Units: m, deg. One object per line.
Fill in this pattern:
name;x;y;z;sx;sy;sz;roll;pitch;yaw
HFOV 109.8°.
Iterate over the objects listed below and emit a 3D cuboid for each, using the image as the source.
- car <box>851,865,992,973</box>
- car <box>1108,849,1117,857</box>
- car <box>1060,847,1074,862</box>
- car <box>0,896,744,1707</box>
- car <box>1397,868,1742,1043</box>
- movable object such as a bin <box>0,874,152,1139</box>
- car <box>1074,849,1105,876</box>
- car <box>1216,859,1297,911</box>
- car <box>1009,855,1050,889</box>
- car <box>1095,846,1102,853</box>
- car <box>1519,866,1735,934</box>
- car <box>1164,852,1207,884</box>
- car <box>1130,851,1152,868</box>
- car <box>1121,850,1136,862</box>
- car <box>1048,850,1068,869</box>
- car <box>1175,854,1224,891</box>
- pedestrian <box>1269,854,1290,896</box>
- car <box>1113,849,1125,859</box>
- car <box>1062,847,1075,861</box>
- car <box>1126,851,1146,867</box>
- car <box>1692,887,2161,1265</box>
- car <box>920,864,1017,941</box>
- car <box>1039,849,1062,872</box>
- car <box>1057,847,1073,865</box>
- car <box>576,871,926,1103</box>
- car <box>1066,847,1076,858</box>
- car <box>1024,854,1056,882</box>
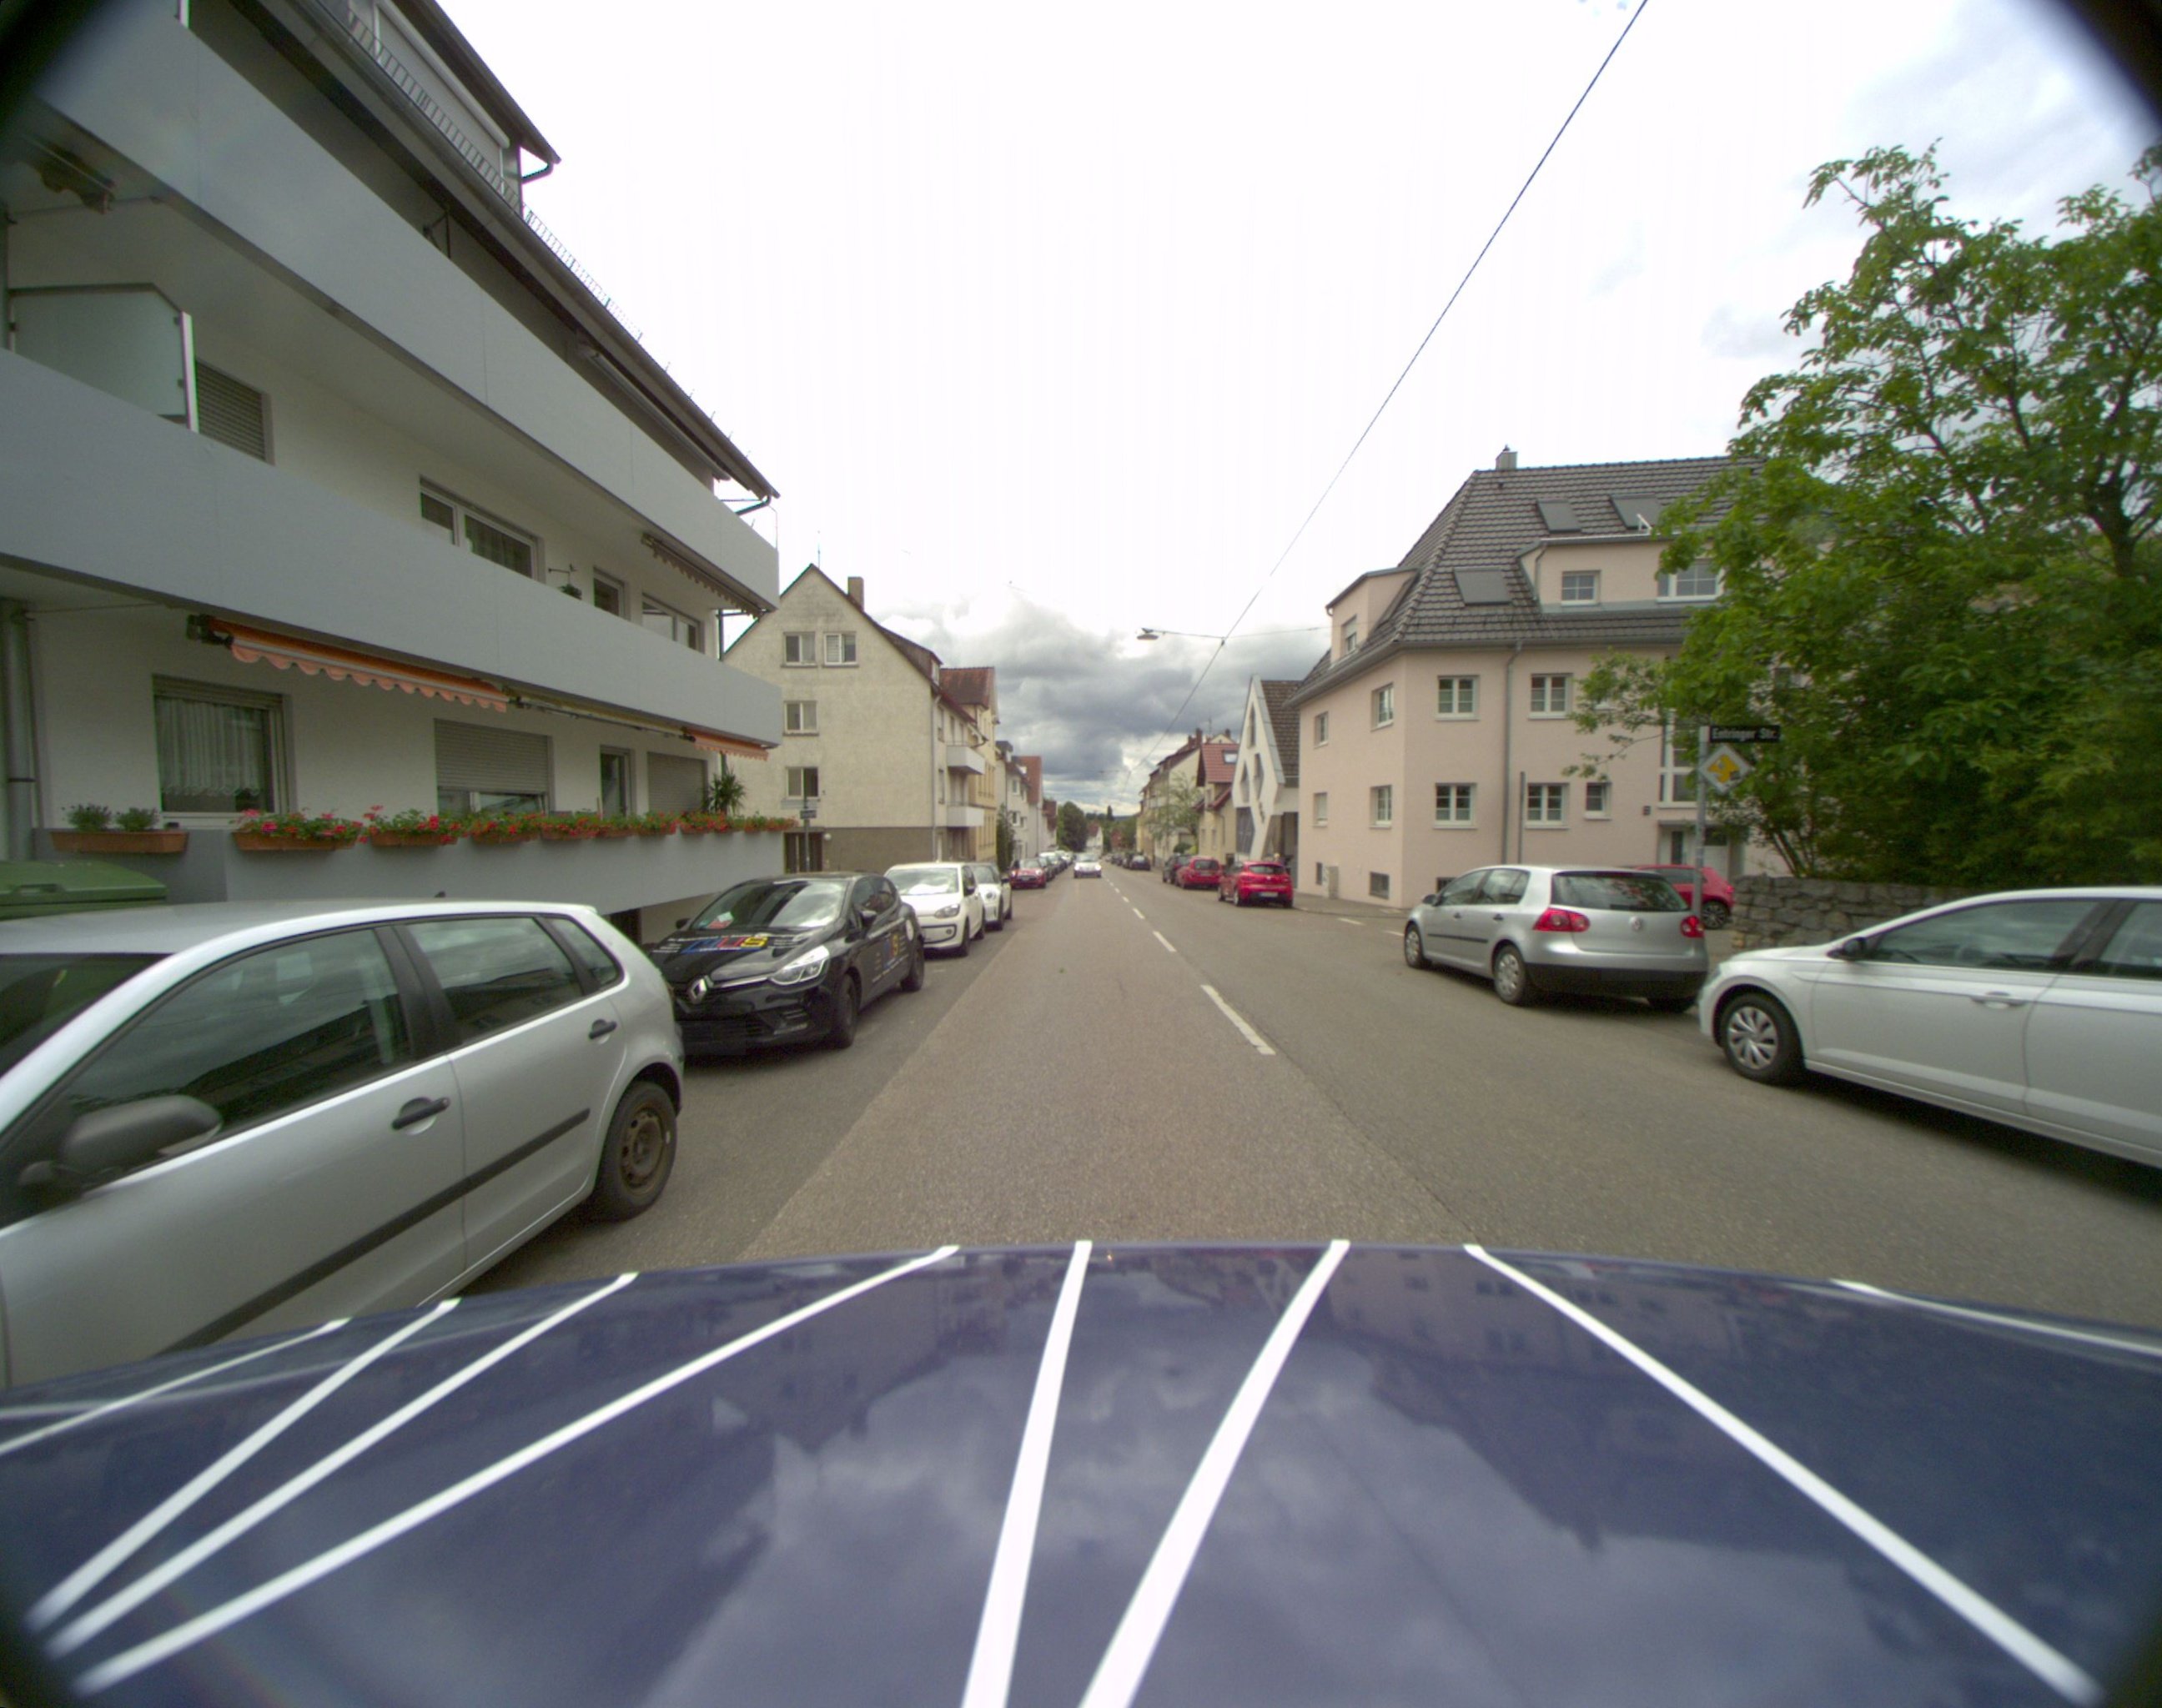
car;-2.532;0.975;12.769;1.613;1.447;3.313;-2;1;0
car;6.277;-0.242;152.896;1.706;1.524;3.735;3;1;0
car;-1.716;0.044;96.553;1.613;1.789;3.859;-2;1;0
car;-2.730;1.009;2.066;1.613;1.447;4.333;-2;1;0
car;5.184;0.945;8.747;1.653;1.438;3.774;1;1;3
movable object such as a bin;-6.503;0.871;4.207;1.082;1.428;1.260;-2;1;0
car;0.565;0.506;48.834;1.721;1.587;4.000;-2;1;3
car;5.552;0.933;24.470;1.706;1.402;3.735;3;1;0
car;-2.405;0.809;36.294;1.613;1.447;3.859;-2;1;0
car;4.479;-1.081;193.633;1.705;1.706;3.736;3;1;4
car;12.539;1.041;17.653;3.731;1.402;1.708;-1;1;5
car;5.564;0.735;40.836;1.706;1.524;3.735;3;1;0
car;5.746;0.520;73.028;1.706;1.524;3.735;3;1;0
car;6.117;0.231;98.562;1.706;1.524;3.735;3;1;0
car;-2.103;0.472;69.575;1.613;1.633;3.859;-2;1;0
car;5.535;0.829;35.857;1.706;1.524;3.735;3;1;0
pedestrian;7.540;0.786;28.837;0.583;1.524;0.600;-2;1;1
car;5.982;-0.013;119.612;1.706;1.524;3.735;3;1;0
car;-1.737;-0.037;103.897;1.613;1.789;3.859;-2;1;0
car;5.696;0.458;78.727;1.706;1.524;3.735;3;1;0
car;5.340;0.999;3.703;1.653;1.438;3.811;1;1;1
car;-2.394;0.982;16.964;1.584;1.397;3.597;-2;1;0
car;-2.385;0.496;60.011;1.613;1.633;3.859;-2;1;0
car;-1.753;0.204;82.385;1.613;1.789;3.859;-2;1;0
car;-2.708;0.981;7.274;1.613;1.447;3.859;-2;1;0
car;-1.709;-0.298;127.213;1.613;1.789;3.859;-2;1;0
car;-2.357;0.765;44.152;1.613;1.447;3.859;-2;1;0
